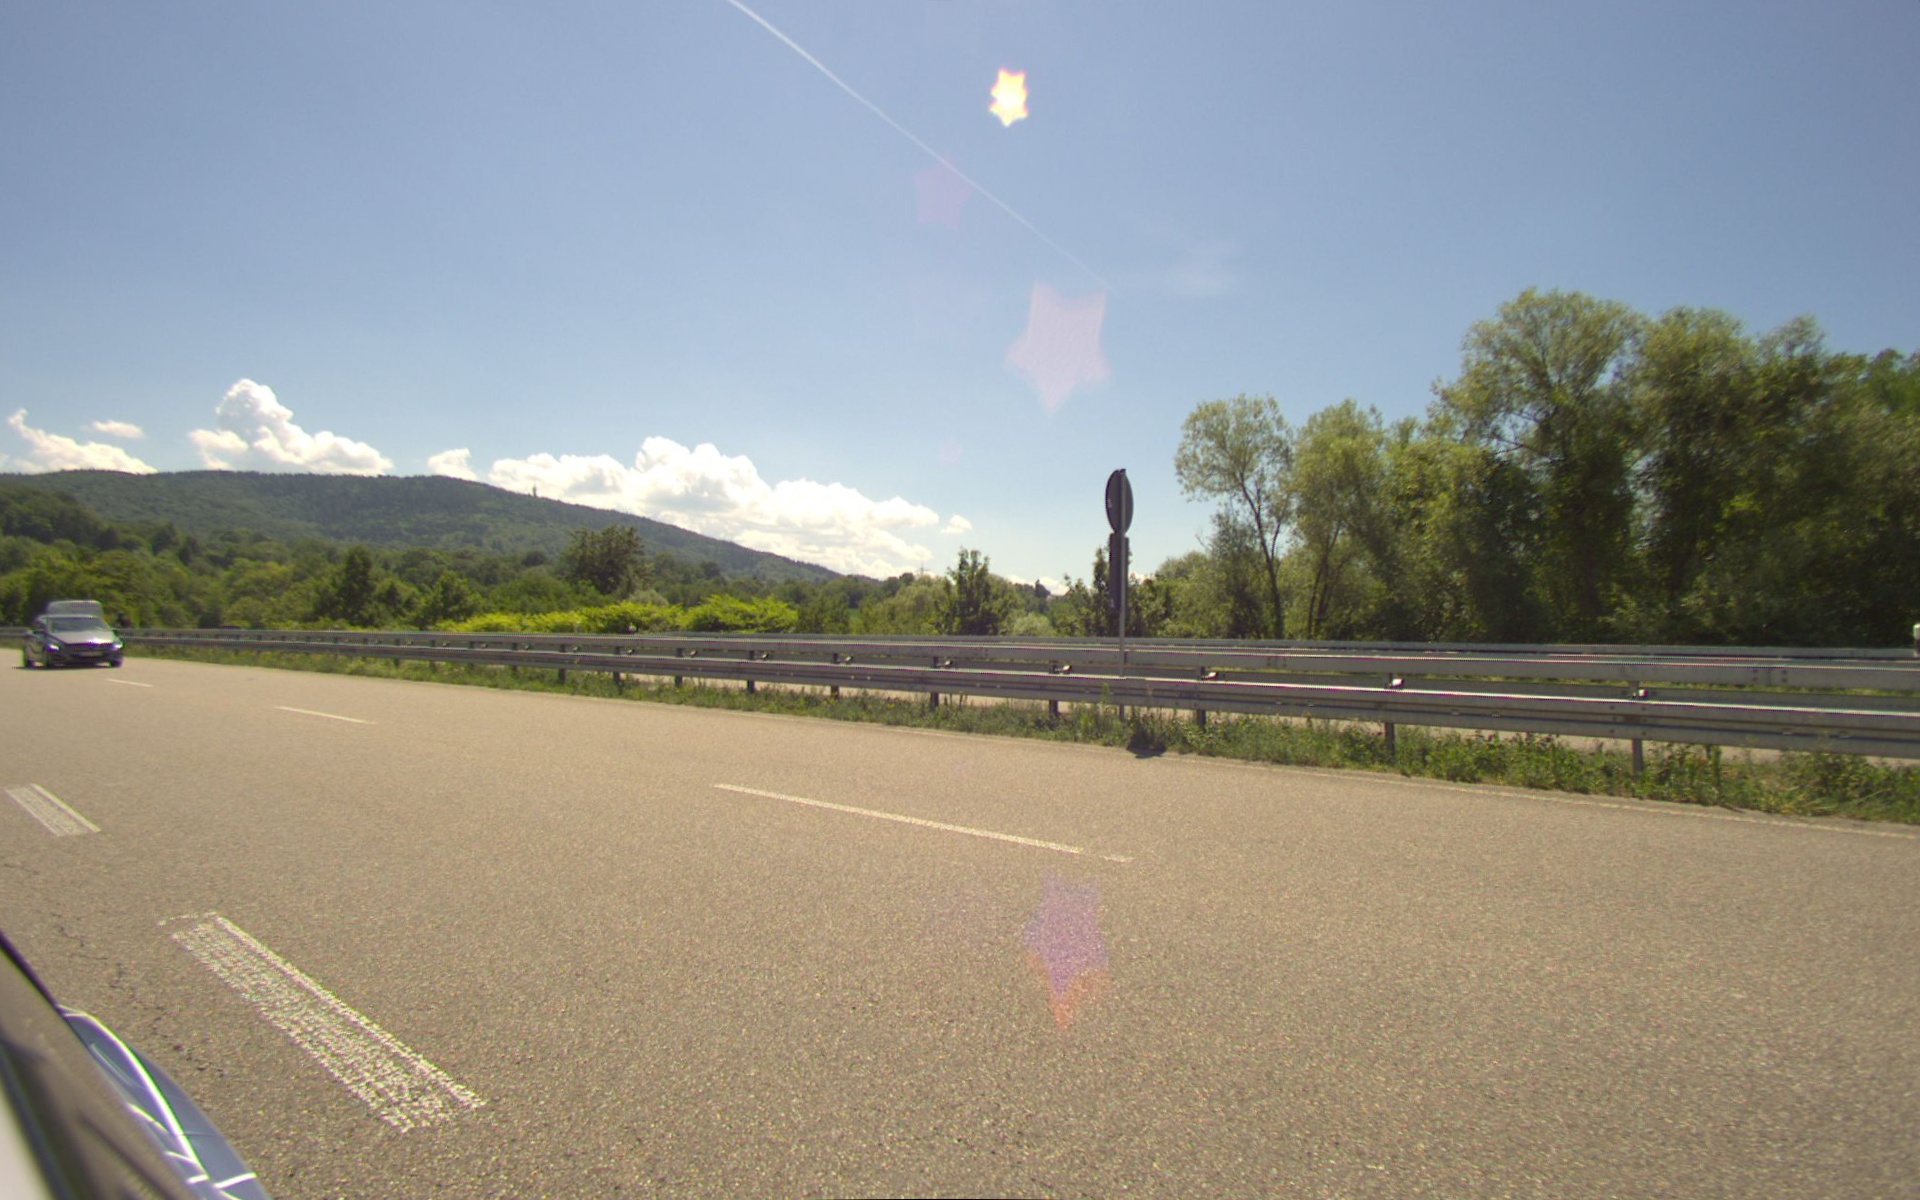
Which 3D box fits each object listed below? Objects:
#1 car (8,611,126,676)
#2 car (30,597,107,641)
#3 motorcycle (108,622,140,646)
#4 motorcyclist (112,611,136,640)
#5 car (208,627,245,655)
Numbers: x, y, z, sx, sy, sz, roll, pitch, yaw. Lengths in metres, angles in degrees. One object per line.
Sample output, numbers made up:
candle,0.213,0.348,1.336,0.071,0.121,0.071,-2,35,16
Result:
car,-26.696,1.224,30.212,4.547,1.680,1.777,1,1,37
car,-60.517,1.271,68.636,7.206,2.794,2.259,1,-1,35
motorcycle,-42.898,1.723,51.918,2.526,1.152,0.783,0,-1,39
motorcyclist,-42.890,1.290,51.915,0.767,1.444,0.783,0,-1,39
car,-76.030,4.208,104.941,2.173,2.657,5.644,2,-1,-27
